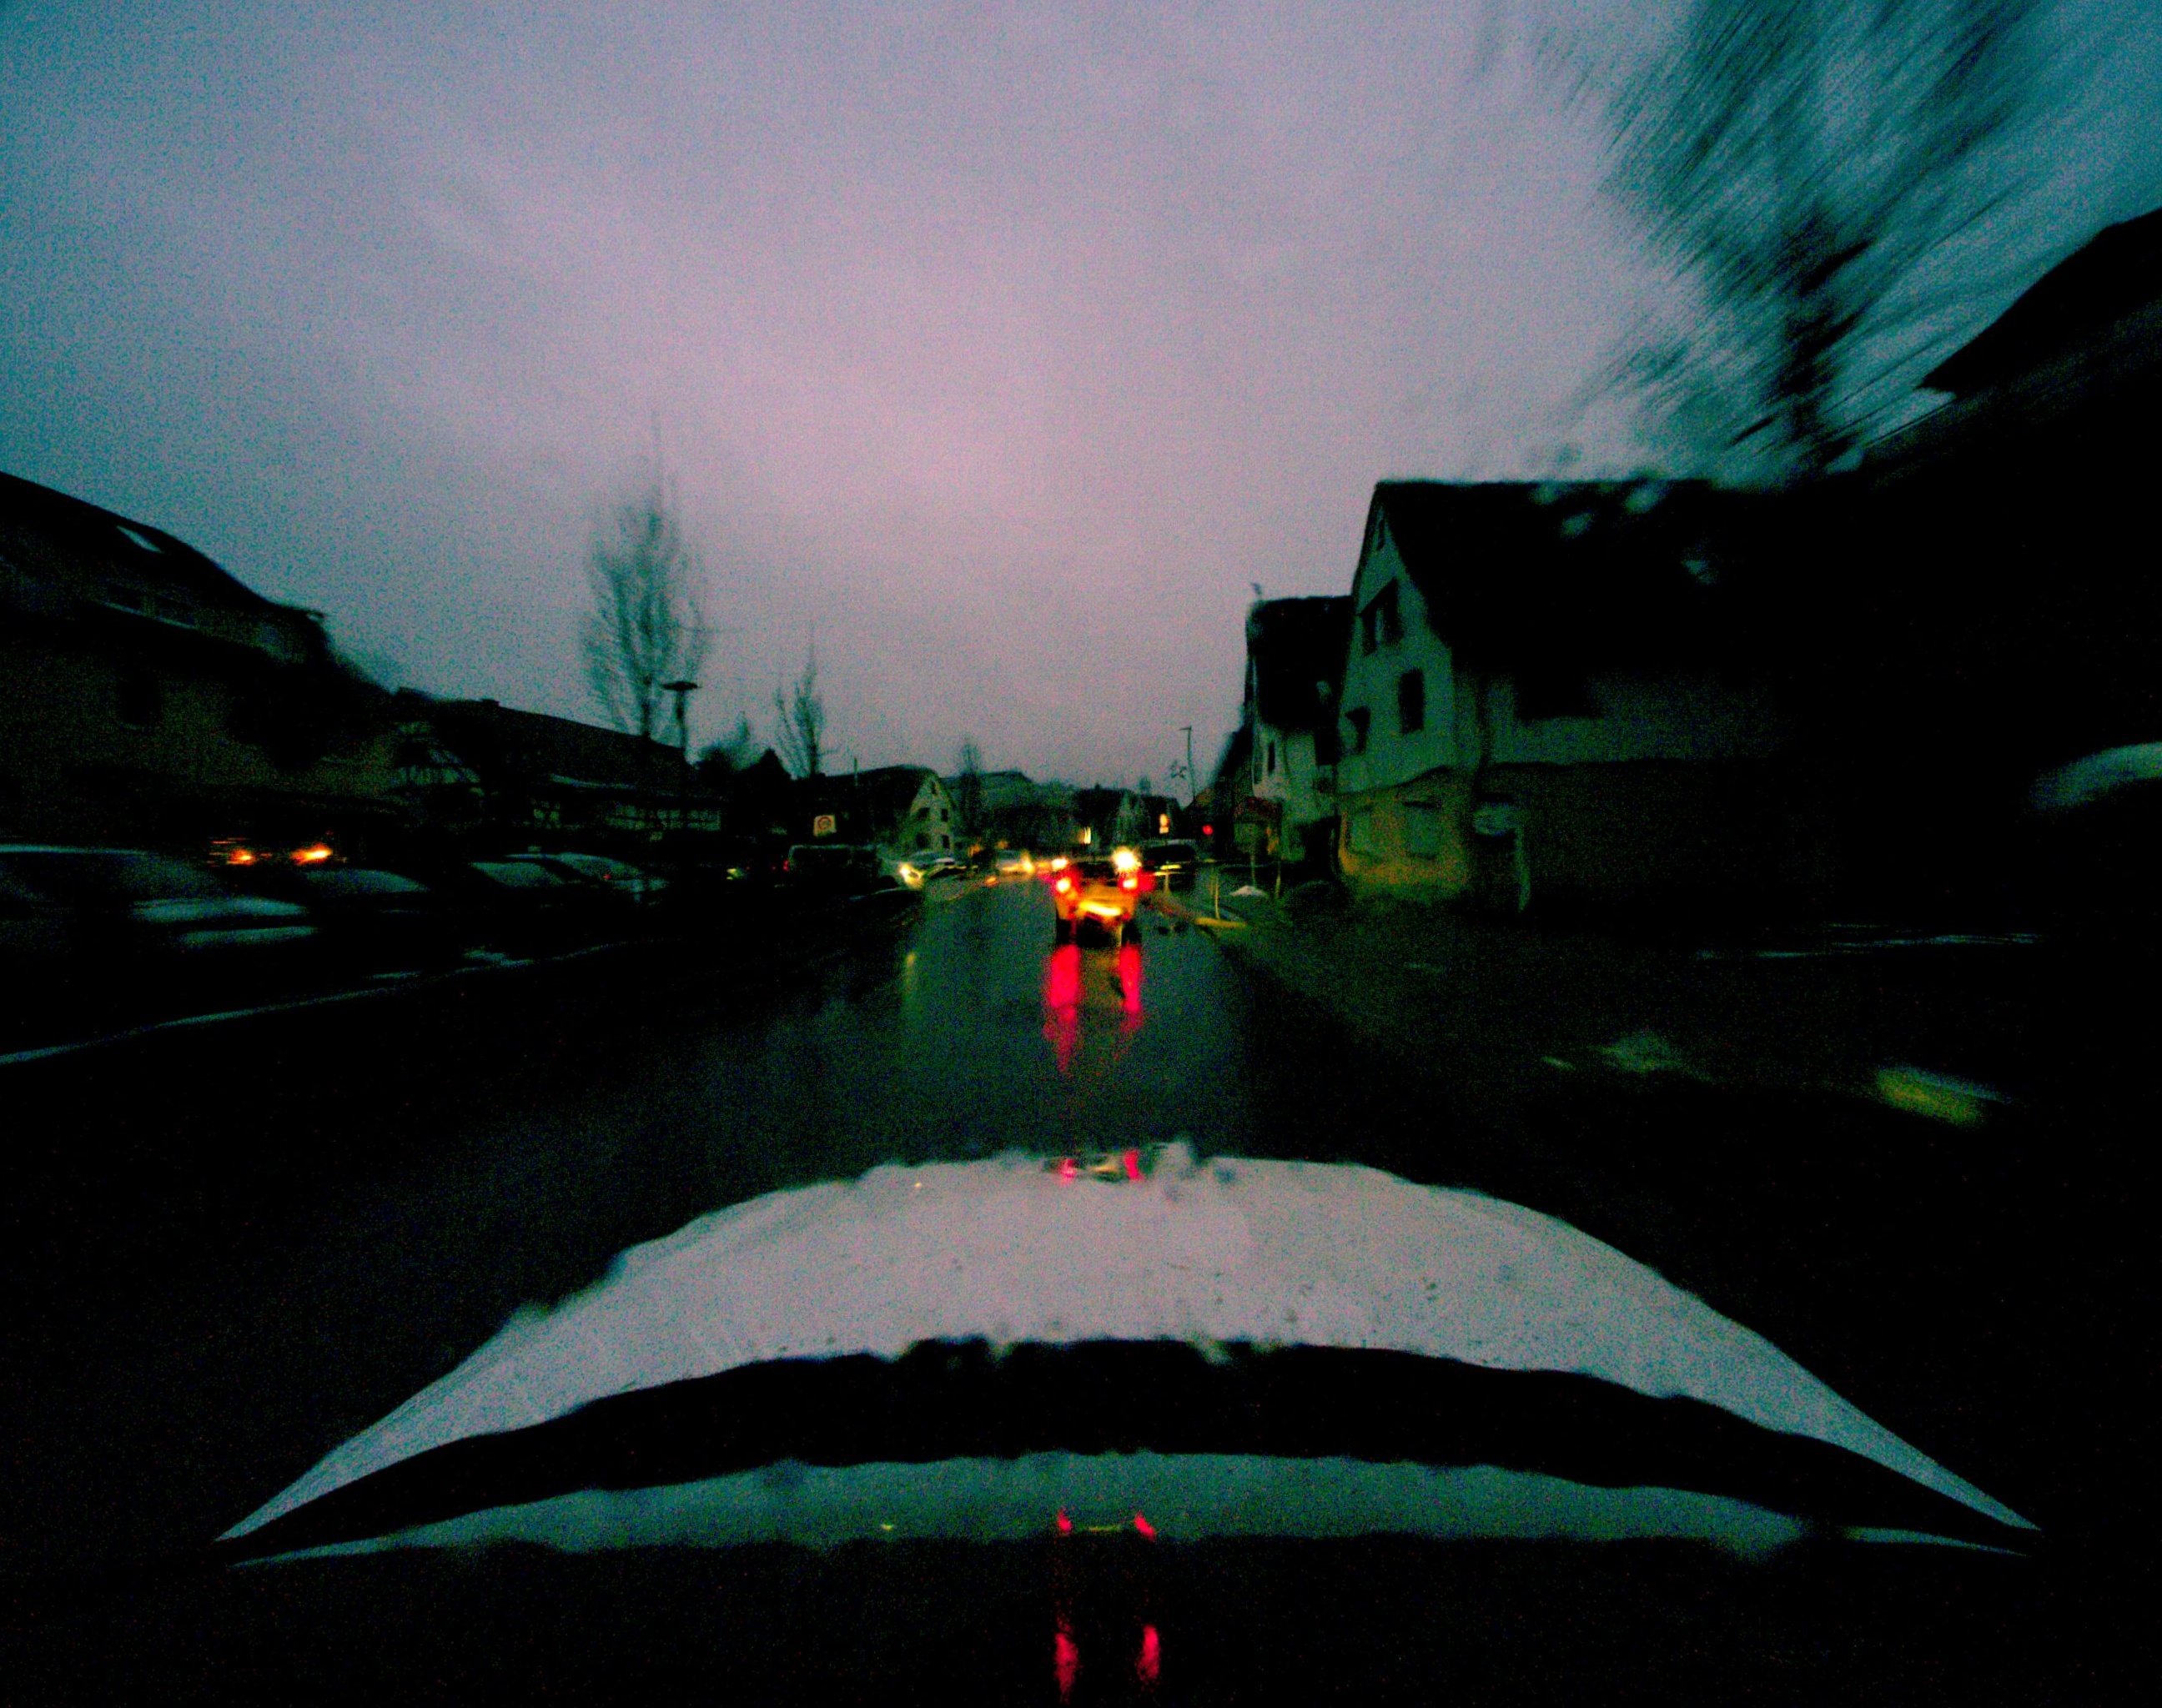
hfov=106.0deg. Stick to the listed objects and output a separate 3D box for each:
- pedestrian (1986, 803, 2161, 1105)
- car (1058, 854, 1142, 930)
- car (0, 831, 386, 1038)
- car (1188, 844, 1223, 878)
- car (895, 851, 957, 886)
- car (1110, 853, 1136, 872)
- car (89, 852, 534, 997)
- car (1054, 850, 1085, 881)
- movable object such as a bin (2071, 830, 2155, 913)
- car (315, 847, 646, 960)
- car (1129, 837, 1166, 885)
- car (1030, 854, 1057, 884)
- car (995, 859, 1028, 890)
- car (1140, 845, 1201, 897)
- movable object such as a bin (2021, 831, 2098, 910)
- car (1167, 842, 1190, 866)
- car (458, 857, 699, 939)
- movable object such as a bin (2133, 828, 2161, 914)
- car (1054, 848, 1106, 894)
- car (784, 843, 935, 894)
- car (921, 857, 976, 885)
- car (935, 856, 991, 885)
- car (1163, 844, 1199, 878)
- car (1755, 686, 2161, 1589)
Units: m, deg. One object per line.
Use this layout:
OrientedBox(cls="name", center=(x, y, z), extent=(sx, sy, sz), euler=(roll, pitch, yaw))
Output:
OrientedBox(cls="pedestrian", center=(5.651, 0.491, 4.460), extent=(0.619, 1.515, 0.731), euler=(-1, 1, -13))
OrientedBox(cls="car", center=(0.383, 0.712, 16.634), extent=(1.557, 1.412, 3.018), euler=(0, 0, 1))
OrientedBox(cls="car", center=(-9.696, 0.683, 7.595), extent=(4.613, 1.667, 1.998), euler=(-1, -1, -2))
OrientedBox(cls="car", center=(8.654, 0.501, 56.807), extent=(1.985, 2.249, 4.002), euler=(0, -2, 2))
OrientedBox(cls="car", center=(-10.453, 0.991, 54.778), extent=(4.331, 2.252, 2.011), euler=(-2, -3, 45))
OrientedBox(cls="car", center=(3.570, 0.763, 68.968), extent=(1.476, 1.527, 3.427), euler=(-1, -2, 15))
OrientedBox(cls="car", center=(-9.502, 0.827, 10.252), extent=(4.178, 1.652, 1.682), euler=(-1, -1, 5))
OrientedBox(cls="car", center=(-0.760, 0.861, 57.844), extent=(1.986, 2.112, 4.001), euler=(0, -2, 2))
OrientedBox(cls="movable object such as a bin", center=(13.772, 0.227, 10.881), extent=(0.370, 1.078, 0.585), euler=(0, -1, 0))
OrientedBox(cls="car", center=(-9.465, 0.755, 13.012), extent=(4.147, 1.644, 1.660), euler=(-1, -1, 5))
OrientedBox(cls="car", center=(3.569, 0.435, 44.331), extent=(1.863, 2.469, 4.445), euler=(0, -2, 2))
OrientedBox(cls="car", center=(-2.873, 1.207, 62.694), extent=(1.914, 2.216, 3.972), euler=(0, -2, -1))
OrientedBox(cls="car", center=(-4.638, 1.397, 54.790), extent=(1.914, 2.028, 3.972), euler=(0, -2, -1))
OrientedBox(cls="car", center=(3.440, 0.652, 31.964), extent=(1.990, 1.865, 4.084), euler=(-1, -1, 1))
OrientedBox(cls="movable object such as a bin", center=(13.797, 0.230, 11.493), extent=(0.370, 1.078, 0.585), euler=(0, -1, 0))
OrientedBox(cls="car", center=(7.985, 0.031, 66.423), extent=(1.860, 1.835, 4.452), euler=(0, -2, 8))
OrientedBox(cls="car", center=(-9.455, 0.797, 15.496), extent=(3.528, 1.447, 1.712), euler=(0, -1, 5))
OrientedBox(cls="movable object such as a bin", center=(13.836, 0.214, 10.271), extent=(0.370, 1.078, 0.585), euler=(0, -1, 0))
OrientedBox(cls="car", center=(0.010, 0.599, 30.522), extent=(1.759, 1.628, 3.588), euler=(0, 0, 3))
OrientedBox(cls="car", center=(-8.425, 0.520, 31.070), extent=(5.358, 1.817, 1.718), euler=(1, 0, 14))
OrientedBox(cls="car", center=(-9.587, 1.251, 58.855), extent=(4.117, 1.976, 1.833), euler=(-2, -3, 45))
OrientedBox(cls="car", center=(-8.953, 1.286, 61.632), extent=(4.331, 2.167, 2.011), euler=(-2, -3, 45))
OrientedBox(cls="car", center=(6.234, 0.465, 51.236), extent=(1.863, 1.999, 4.445), euler=(0, -2, 2))
OrientedBox(cls="car", center=(2.867, 0.505, 0.214), extent=(1.730, 1.692, 4.385), euler=(-2, 0, 0))
